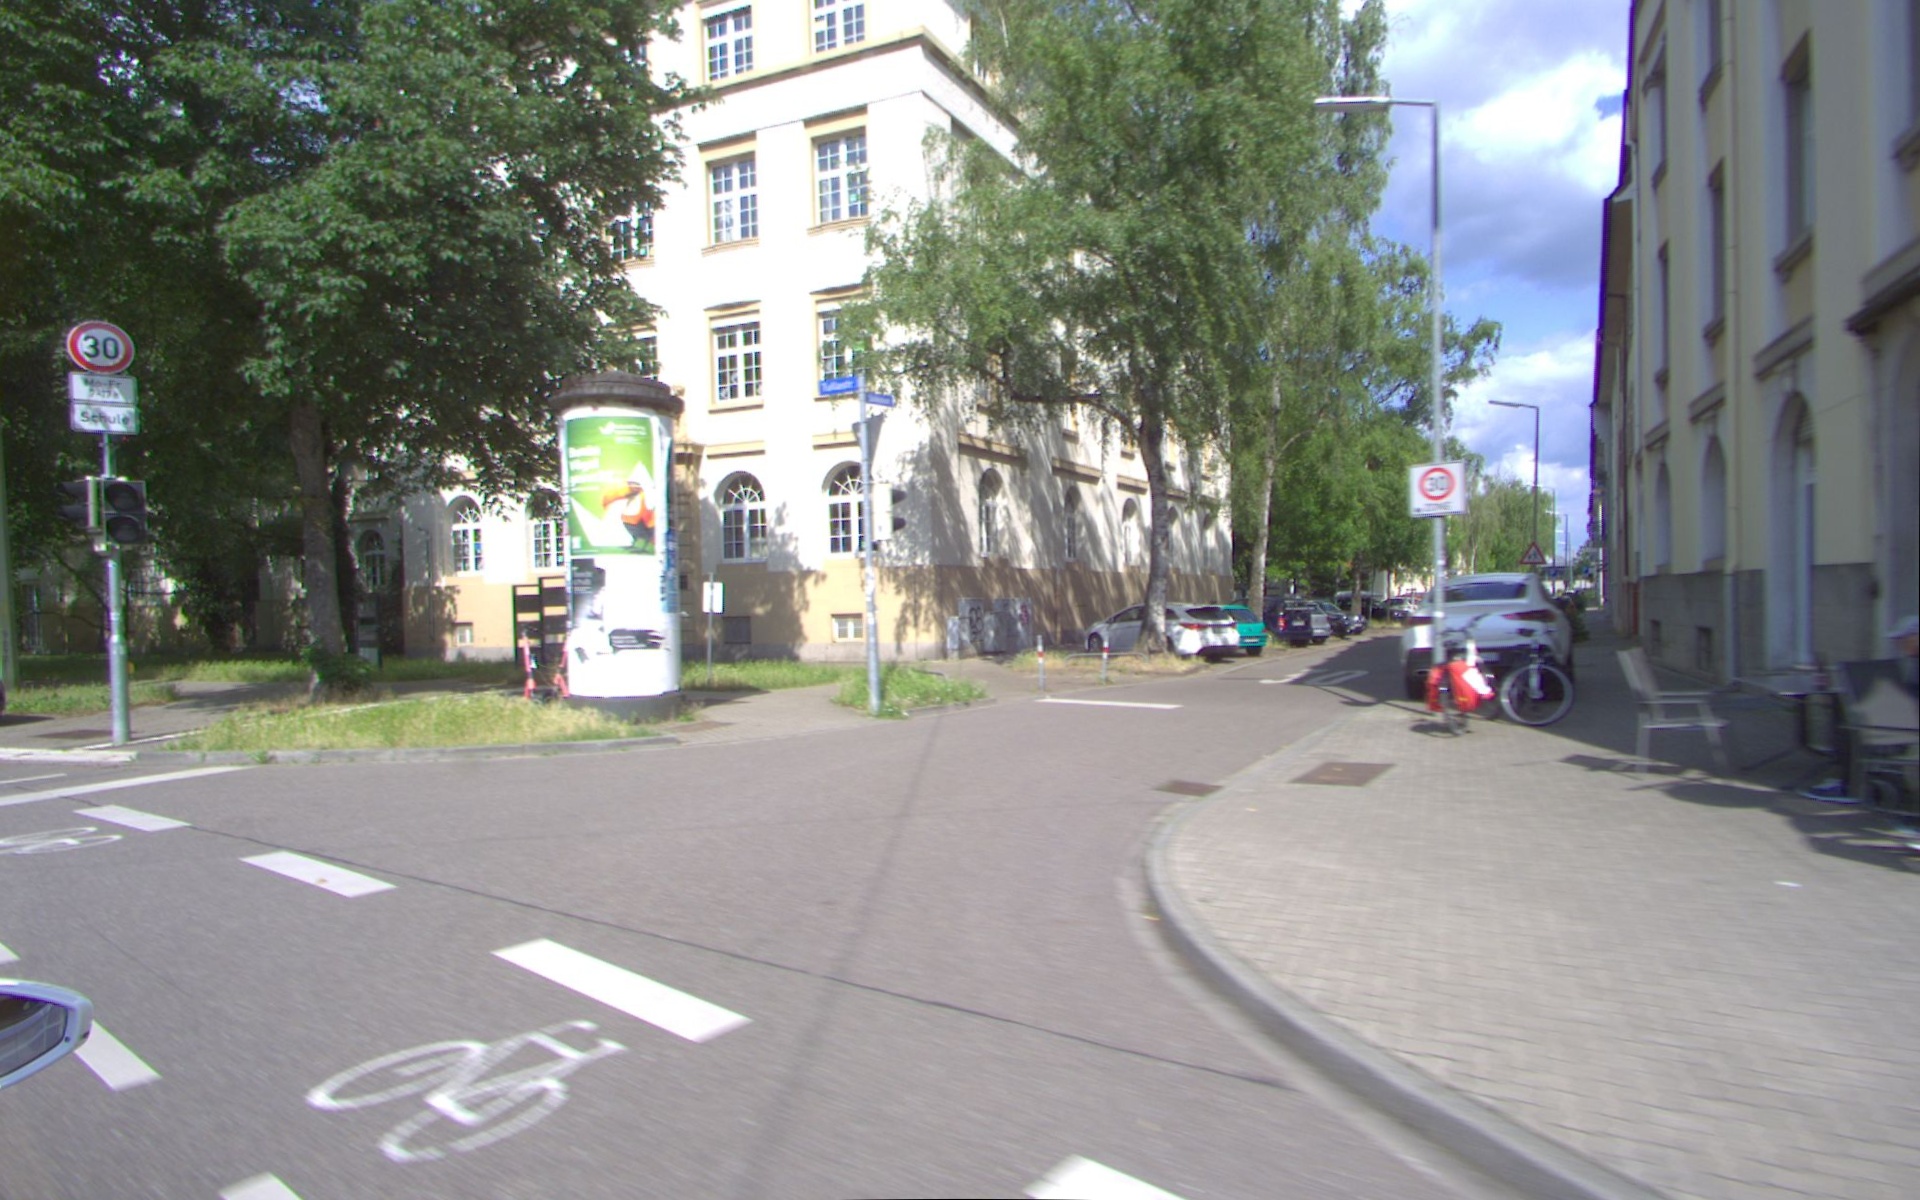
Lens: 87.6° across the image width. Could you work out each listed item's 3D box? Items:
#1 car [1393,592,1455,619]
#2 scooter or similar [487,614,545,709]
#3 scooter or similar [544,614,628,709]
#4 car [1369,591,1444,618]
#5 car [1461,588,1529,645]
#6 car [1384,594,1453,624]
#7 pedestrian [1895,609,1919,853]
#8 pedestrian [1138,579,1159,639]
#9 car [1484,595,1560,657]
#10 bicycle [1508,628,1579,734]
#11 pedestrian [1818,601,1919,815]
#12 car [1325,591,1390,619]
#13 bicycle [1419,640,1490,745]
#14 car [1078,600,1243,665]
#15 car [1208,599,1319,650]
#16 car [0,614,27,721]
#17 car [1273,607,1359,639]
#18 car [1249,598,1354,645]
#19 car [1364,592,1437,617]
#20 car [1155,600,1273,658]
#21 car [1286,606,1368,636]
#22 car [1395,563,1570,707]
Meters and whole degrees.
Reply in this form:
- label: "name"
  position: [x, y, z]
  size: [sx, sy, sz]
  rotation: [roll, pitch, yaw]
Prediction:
- label: "car"
  position: [30.344, 0.368, 65.574]
  size: [1.392, 1.686, 3.490]
  rotation: [-2, 0, -32]
- label: "scooter or similar"
  position: [-5.948, 0.801, 13.390]
  size: [0.303, 1.205, 1.151]
  rotation: [-2, 1, -44]
- label: "scooter or similar"
  position: [-5.188, 0.835, 13.910]
  size: [1.011, 1.247, 0.435]
  rotation: [-1, 1, -31]
- label: "car"
  position: [27.440, 0.274, 61.667]
  size: [1.684, 1.554, 3.980]
  rotation: [-1, 0, -29]
- label: "car"
  position: [17.641, 0.503, 32.958]
  size: [1.712, 1.761, 3.629]
  rotation: [1, 1, 32]
- label: "car"
  position: [23.180, 0.470, 50.671]
  size: [1.219, 1.435, 2.967]
  rotation: [-2, 0, -45]
- label: "pedestrian"
  position: [5.568, 0.658, 4.910]
  size: [1.283, 1.285, 0.534]
  rotation: [-3, -1, 26]
- label: "pedestrian"
  position: [6.532, 0.315, 34.724]
  size: [0.495, 2.040, 0.625]
  rotation: [-1, 1, 31]
- label: "car"
  position: [15.027, 0.659, 26.714]
  size: [1.599, 1.478, 3.578]
  rotation: [-3, -2, 31]
- label: "bicycle"
  position: [6.359, 0.849, 10.950]
  size: [0.576, 0.981, 1.645]
  rotation: [-3, 0, 29]
- label: "pedestrian"
  position: [5.917, 0.657, 6.312]
  size: [0.650, 1.286, 0.534]
  rotation: [-1, 2, 25]
- label: "car"
  position: [21.054, 0.286, 53.104]
  size: [1.219, 1.435, 2.967]
  rotation: [-2, 0, -45]
- label: "bicycle"
  position: [5.403, 0.974, 10.905]
  size: [0.576, 0.981, 1.645]
  rotation: [-3, 0, 29]
- label: "car"
  position: [5.047, 0.794, 25.824]
  size: [1.598, 1.506, 4.520]
  rotation: [-1, 0, -30]
- label: "car"
  position: [9.562, 0.750, 31.736]
  size: [1.568, 1.476, 3.254]
  rotation: [-1, 0, -26]
- label: "car"
  position: [-15.193, 0.988, 13.902]
  size: [3.838, 1.452, 1.766]
  rotation: [-1, 1, 22]
- label: "car"
  position: [13.515, 0.860, 38.157]
  size: [1.266, 1.144, 2.980]
  rotation: [-1, 0, -31]
- label: "car"
  position: [11.583, 0.709, 34.145]
  size: [1.568, 1.476, 3.254]
  rotation: [-2, 0, -26]
- label: "car"
  position: [25.946, 0.293, 59.125]
  size: [1.684, 1.416, 3.724]
  rotation: [-1, 0, -27]
- label: "car"
  position: [6.927, 0.775, 27.578]
  size: [1.363, 1.476, 3.253]
  rotation: [-1, 0, -26]
- label: "car"
  position: [14.788, 0.850, 40.412]
  size: [1.266, 1.144, 2.980]
  rotation: [-1, 0, -31]
- label: "car"
  position: [7.794, 0.425, 14.688]
  size: [1.886, 1.756, 4.747]
  rotation: [-1, 0, 32]
